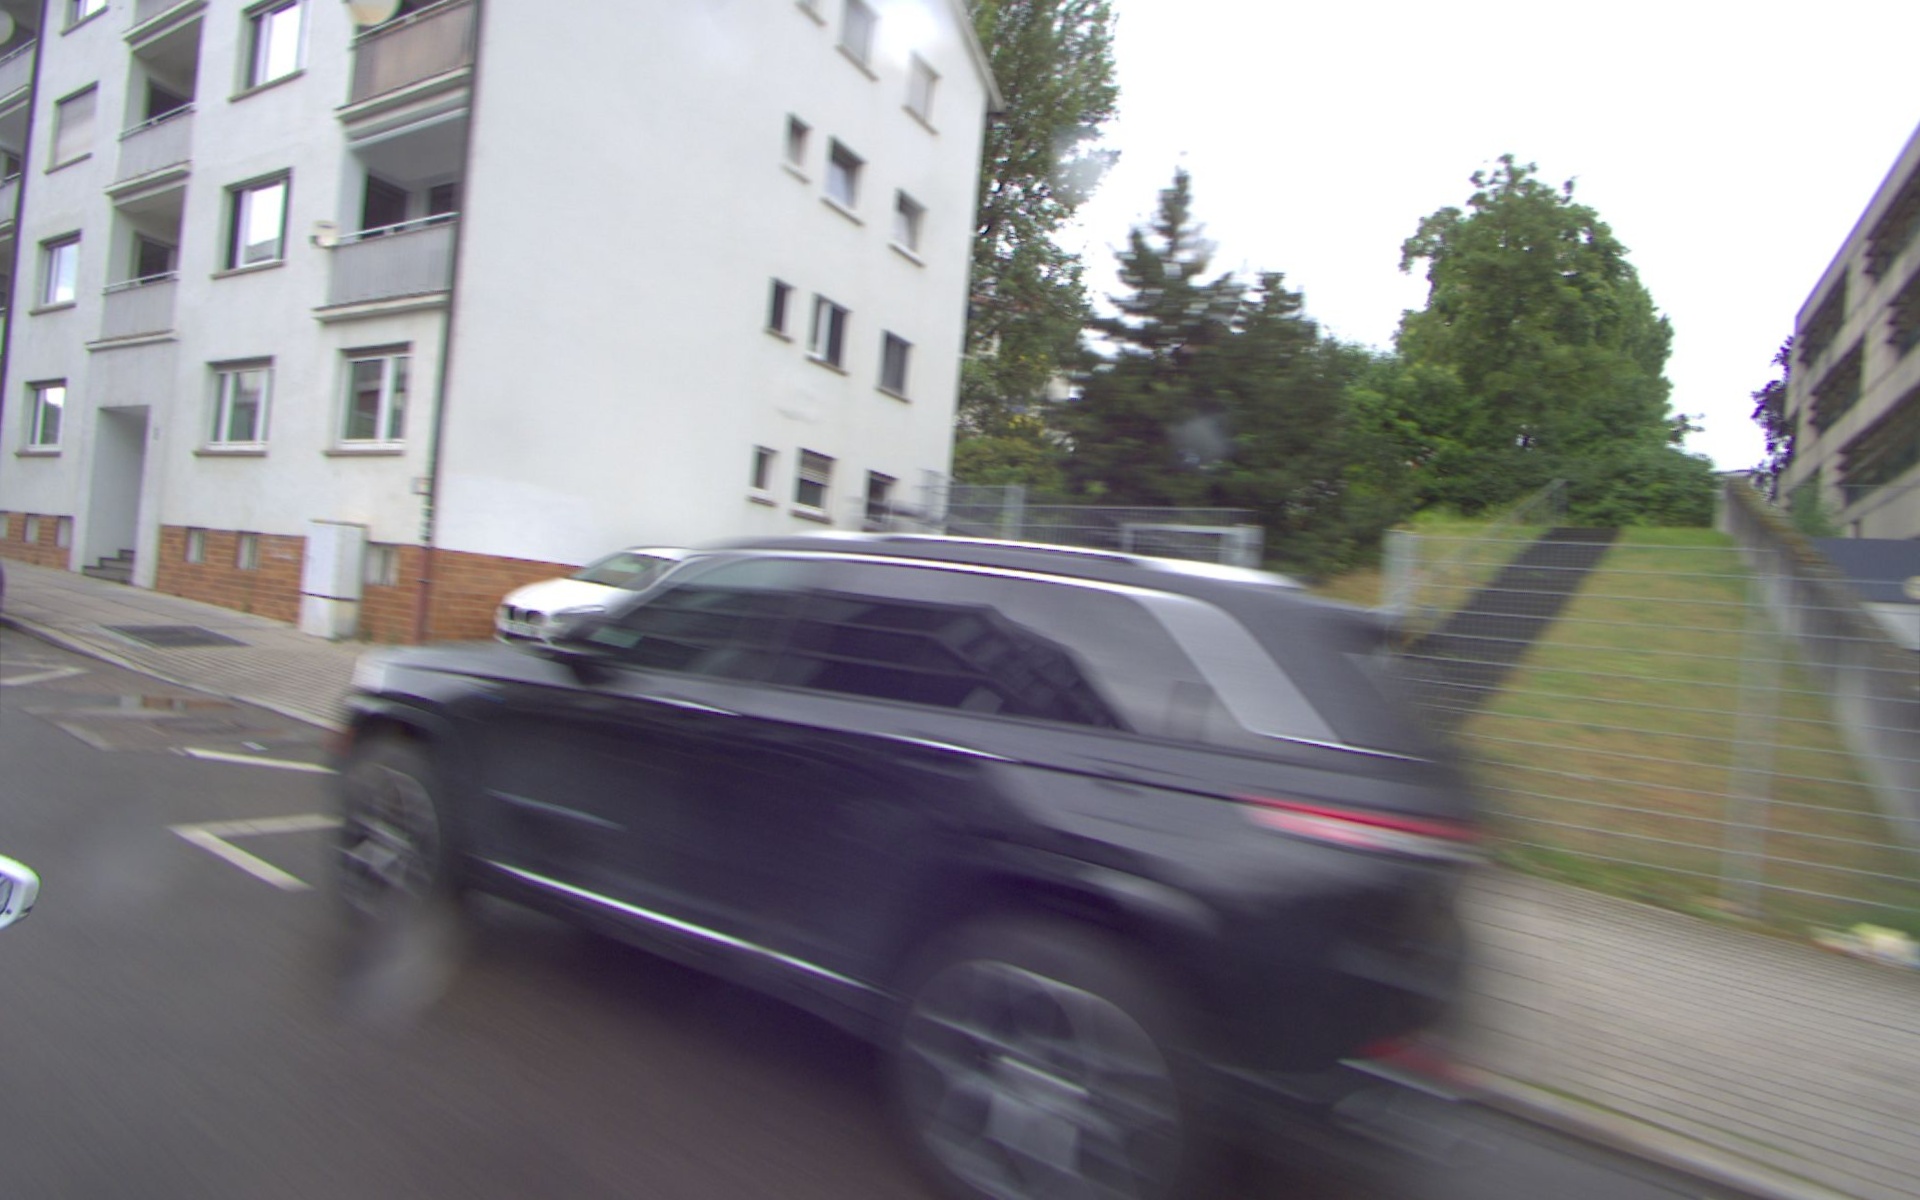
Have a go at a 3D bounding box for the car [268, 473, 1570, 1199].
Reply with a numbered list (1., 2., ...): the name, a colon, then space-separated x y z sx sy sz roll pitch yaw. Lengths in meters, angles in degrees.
1. car: -0.432 0.622 4.020 4.716 1.771 1.939 6 -1 31

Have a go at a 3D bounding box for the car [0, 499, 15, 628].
1. car: -12.713 -0.651 11.544 3.701 1.477 1.676 7 0 31

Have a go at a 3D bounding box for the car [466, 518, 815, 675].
1. car: -4.217 -0.017 14.033 1.873 1.735 4.440 6 2 30
